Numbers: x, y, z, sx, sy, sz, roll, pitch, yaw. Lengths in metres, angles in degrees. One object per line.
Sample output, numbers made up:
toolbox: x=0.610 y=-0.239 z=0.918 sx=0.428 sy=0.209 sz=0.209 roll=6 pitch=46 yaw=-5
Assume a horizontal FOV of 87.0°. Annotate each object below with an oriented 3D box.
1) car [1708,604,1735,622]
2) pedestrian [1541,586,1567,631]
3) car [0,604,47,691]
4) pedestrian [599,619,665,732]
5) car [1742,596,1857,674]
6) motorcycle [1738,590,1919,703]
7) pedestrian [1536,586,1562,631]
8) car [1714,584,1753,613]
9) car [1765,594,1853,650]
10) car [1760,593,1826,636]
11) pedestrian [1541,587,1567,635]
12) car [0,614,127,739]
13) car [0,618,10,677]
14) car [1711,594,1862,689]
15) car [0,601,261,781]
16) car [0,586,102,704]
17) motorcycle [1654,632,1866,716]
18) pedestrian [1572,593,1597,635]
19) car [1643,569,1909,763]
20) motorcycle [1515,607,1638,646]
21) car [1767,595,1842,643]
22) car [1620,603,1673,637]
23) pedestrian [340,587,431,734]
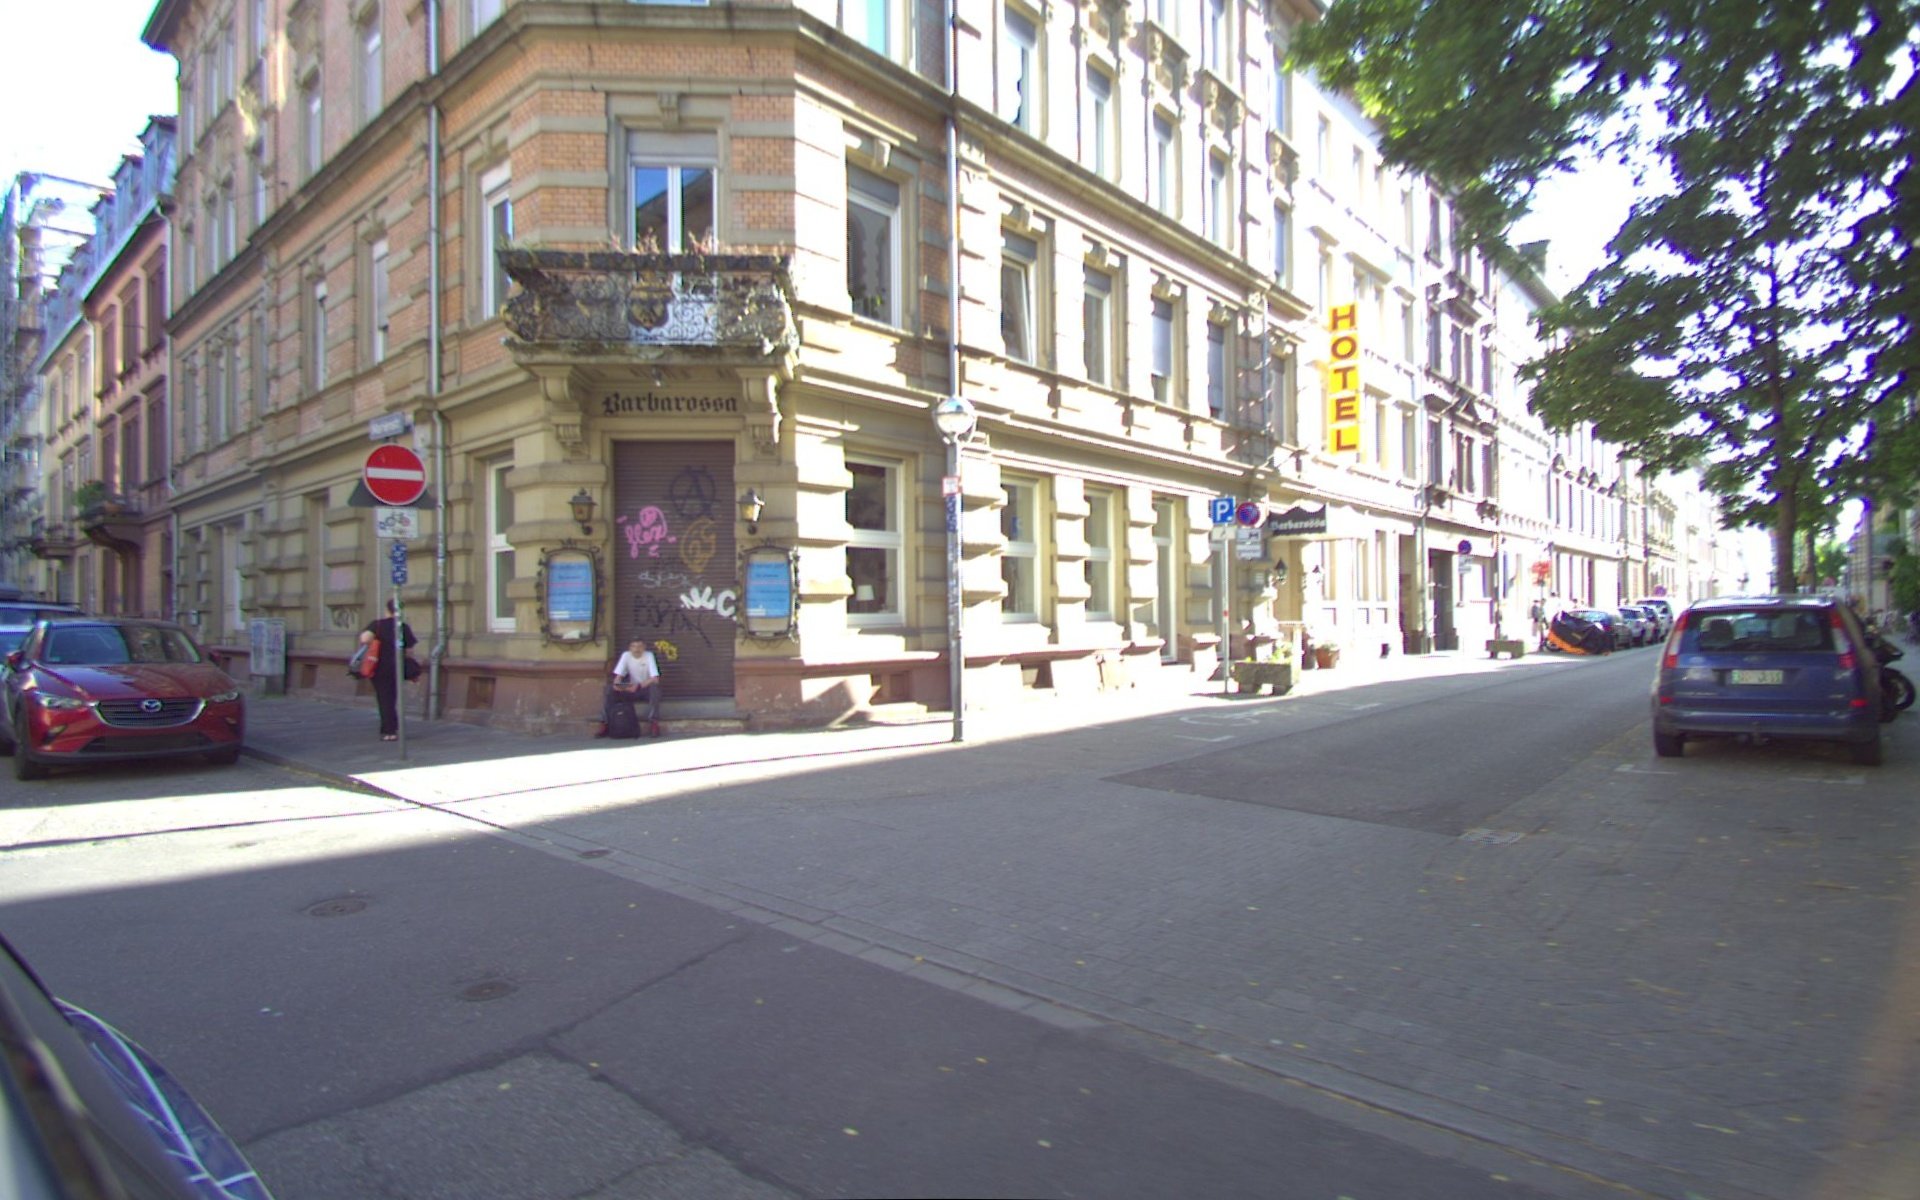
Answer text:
car: x=51.444 y=0.876 z=68.368 sx=1.382 sy=1.172 sz=3.284 roll=-1 pitch=-1 yaw=38
pedestrian: x=24.330 y=0.340 z=41.437 sx=0.701 sy=1.771 sz=0.724 roll=-4 pitch=3 yaw=-43
car: x=-20.065 y=0.948 z=20.601 sx=4.607 sy=1.636 sz=1.769 roll=-1 pitch=1 yaw=43
pedestrian: x=-3.696 y=0.825 z=11.387 sx=0.657 sy=1.186 sz=0.750 roll=-1 pitch=0 yaw=-19
car: x=17.928 y=0.682 z=21.623 sx=1.730 sy=1.472 sz=4.221 roll=-1 pitch=0 yaw=40
motorcycle: x=11.734 y=0.597 z=13.493 sx=2.103 sy=1.431 sz=0.653 roll=-1 pitch=-1 yaw=41
pedestrian: x=23.781 y=0.340 z=40.856 sx=0.701 sy=1.771 sz=0.724 roll=-4 pitch=3 yaw=-43
car: x=60.538 y=-0.129 z=79.166 sx=2.053 sy=2.120 sz=4.578 roll=-1 pitch=1 yaw=41
car: x=23.364 y=0.571 z=27.888 sx=1.730 sy=1.431 sz=4.084 roll=-1 pitch=0 yaw=40
car: x=29.759 y=0.499 z=36.153 sx=1.730 sy=1.431 sz=3.869 roll=-1 pitch=0 yaw=40
pedestrian: x=22.974 y=0.419 z=39.139 sx=0.711 sy=1.771 sz=0.714 roll=-1 pitch=3 yaw=42
car: x=-12.584 y=0.951 z=13.458 sx=3.872 sy=1.431 sz=1.657 roll=-1 pitch=1 yaw=40
car: x=-23.676 y=1.149 z=23.703 sx=3.999 sy=1.323 sz=1.681 roll=-1 pitch=3 yaw=42
car: x=14.179 y=0.626 z=17.368 sx=1.795 sy=1.431 sz=4.221 roll=-1 pitch=0 yaw=40
car: x=-8.949 y=0.809 z=10.658 sx=4.088 sy=1.492 sz=1.704 roll=-1 pitch=1 yaw=42
car: x=-16.278 y=0.732 z=17.290 sx=4.607 sy=1.798 sz=1.872 roll=-1 pitch=1 yaw=42
motorcycle: x=10.283 y=0.923 z=13.086 sx=2.103 sy=0.982 sz=0.563 roll=-1 pitch=-1 yaw=41
pedestrian: x=24.173 y=0.532 z=39.170 sx=0.711 sy=1.578 sz=0.714 roll=-1 pitch=3 yaw=42
car: x=8.472 y=0.576 z=10.502 sx=1.769 sy=1.610 sz=3.945 roll=-4 pitch=-2 yaw=41
motorcycle: x=19.202 y=0.804 z=31.640 sx=1.313 sy=1.070 sz=3.067 roll=1 pitch=1 yaw=-24
car: x=26.775 y=0.573 z=32.102 sx=1.730 sy=1.431 sz=3.869 roll=-1 pitch=0 yaw=40
car: x=24.904 y=0.721 z=36.672 sx=1.382 sy=1.172 sz=3.284 roll=-1 pitch=-1 yaw=38
pedestrian: x=-6.534 y=0.661 z=11.510 sx=0.759 sy=1.592 sz=0.660 roll=-1 pitch=0 yaw=41
